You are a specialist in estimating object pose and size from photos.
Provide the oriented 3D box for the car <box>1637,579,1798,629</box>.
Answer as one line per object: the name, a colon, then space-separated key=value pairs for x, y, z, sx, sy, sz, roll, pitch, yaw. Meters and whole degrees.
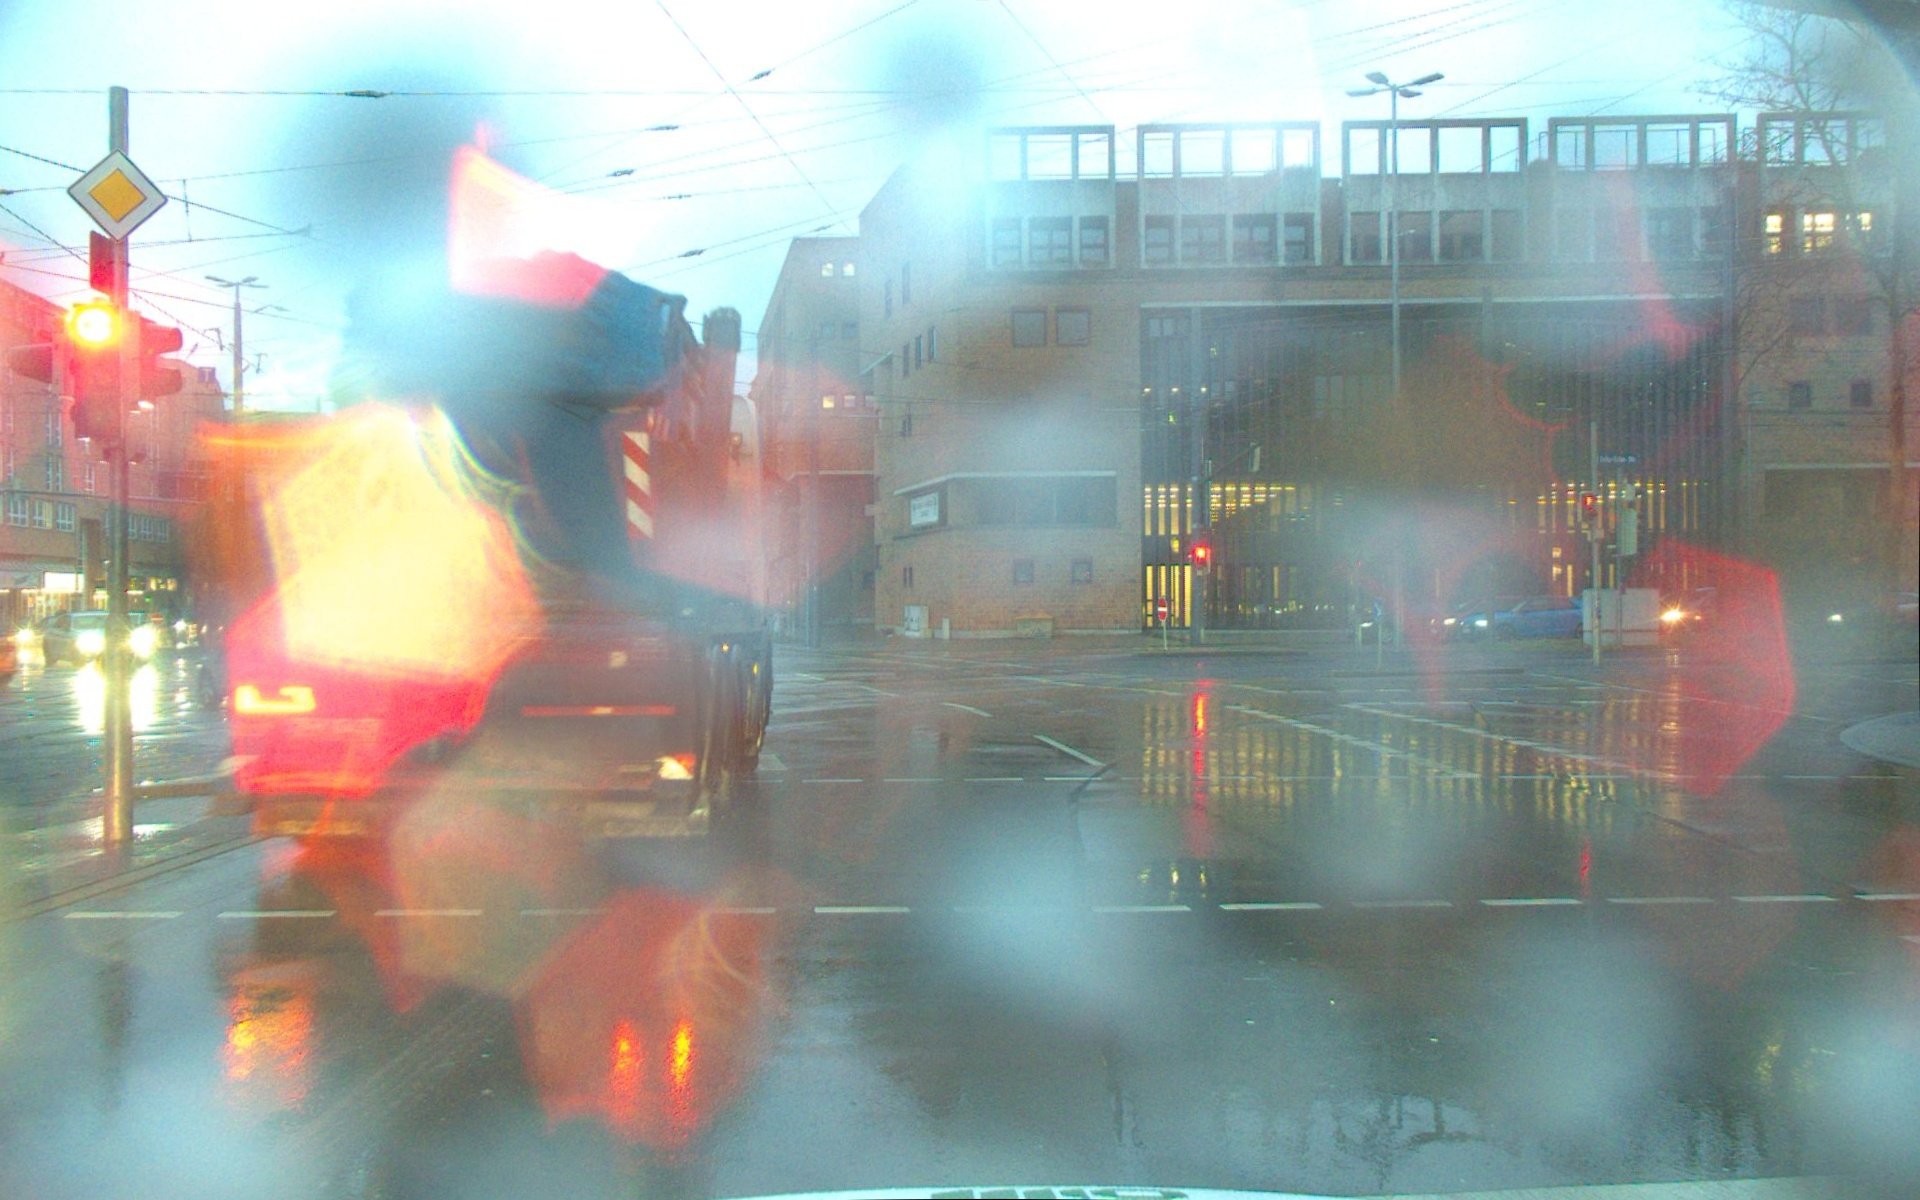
car: x=22.348 y=0.096 z=48.866 sx=3.910 sy=1.310 sz=1.846 roll=-1 pitch=4 yaw=-7

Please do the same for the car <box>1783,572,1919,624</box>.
car: x=29.333 y=-0.076 z=54.139 sx=3.910 sy=1.530 sz=1.846 roll=-1 pitch=4 yaw=-7

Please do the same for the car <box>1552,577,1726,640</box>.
car: x=18.229 y=0.208 z=44.516 sx=3.910 sy=1.530 sz=1.846 roll=-1 pitch=4 yaw=-7

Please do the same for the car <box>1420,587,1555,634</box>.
car: x=16.603 y=0.320 z=52.157 sx=3.649 sy=1.284 sz=1.846 roll=-1 pitch=4 yaw=-7

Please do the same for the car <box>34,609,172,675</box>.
car: x=-23.355 y=1.094 z=44.993 sx=2.234 sy=1.635 sz=4.928 roll=-1 pitch=0 yaw=-41

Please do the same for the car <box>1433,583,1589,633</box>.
car: x=15.977 y=0.211 z=48.061 sx=3.910 sy=1.284 sz=1.846 roll=-1 pitch=4 yaw=-7

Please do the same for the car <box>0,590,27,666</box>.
car: x=-20.561 y=0.574 z=33.169 sx=3.678 sy=1.485 sz=1.699 roll=-1 pitch=0 yaw=33

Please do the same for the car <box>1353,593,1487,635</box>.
car: x=15.538 y=0.453 z=55.968 sx=3.909 sy=1.333 sz=1.998 roll=-1 pitch=0 yaw=-5

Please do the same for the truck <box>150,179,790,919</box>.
truck: x=-2.841 y=-0.278 z=12.107 sx=2.782 sy=3.697 sz=7.522 roll=-1 pitch=0 yaw=-3
